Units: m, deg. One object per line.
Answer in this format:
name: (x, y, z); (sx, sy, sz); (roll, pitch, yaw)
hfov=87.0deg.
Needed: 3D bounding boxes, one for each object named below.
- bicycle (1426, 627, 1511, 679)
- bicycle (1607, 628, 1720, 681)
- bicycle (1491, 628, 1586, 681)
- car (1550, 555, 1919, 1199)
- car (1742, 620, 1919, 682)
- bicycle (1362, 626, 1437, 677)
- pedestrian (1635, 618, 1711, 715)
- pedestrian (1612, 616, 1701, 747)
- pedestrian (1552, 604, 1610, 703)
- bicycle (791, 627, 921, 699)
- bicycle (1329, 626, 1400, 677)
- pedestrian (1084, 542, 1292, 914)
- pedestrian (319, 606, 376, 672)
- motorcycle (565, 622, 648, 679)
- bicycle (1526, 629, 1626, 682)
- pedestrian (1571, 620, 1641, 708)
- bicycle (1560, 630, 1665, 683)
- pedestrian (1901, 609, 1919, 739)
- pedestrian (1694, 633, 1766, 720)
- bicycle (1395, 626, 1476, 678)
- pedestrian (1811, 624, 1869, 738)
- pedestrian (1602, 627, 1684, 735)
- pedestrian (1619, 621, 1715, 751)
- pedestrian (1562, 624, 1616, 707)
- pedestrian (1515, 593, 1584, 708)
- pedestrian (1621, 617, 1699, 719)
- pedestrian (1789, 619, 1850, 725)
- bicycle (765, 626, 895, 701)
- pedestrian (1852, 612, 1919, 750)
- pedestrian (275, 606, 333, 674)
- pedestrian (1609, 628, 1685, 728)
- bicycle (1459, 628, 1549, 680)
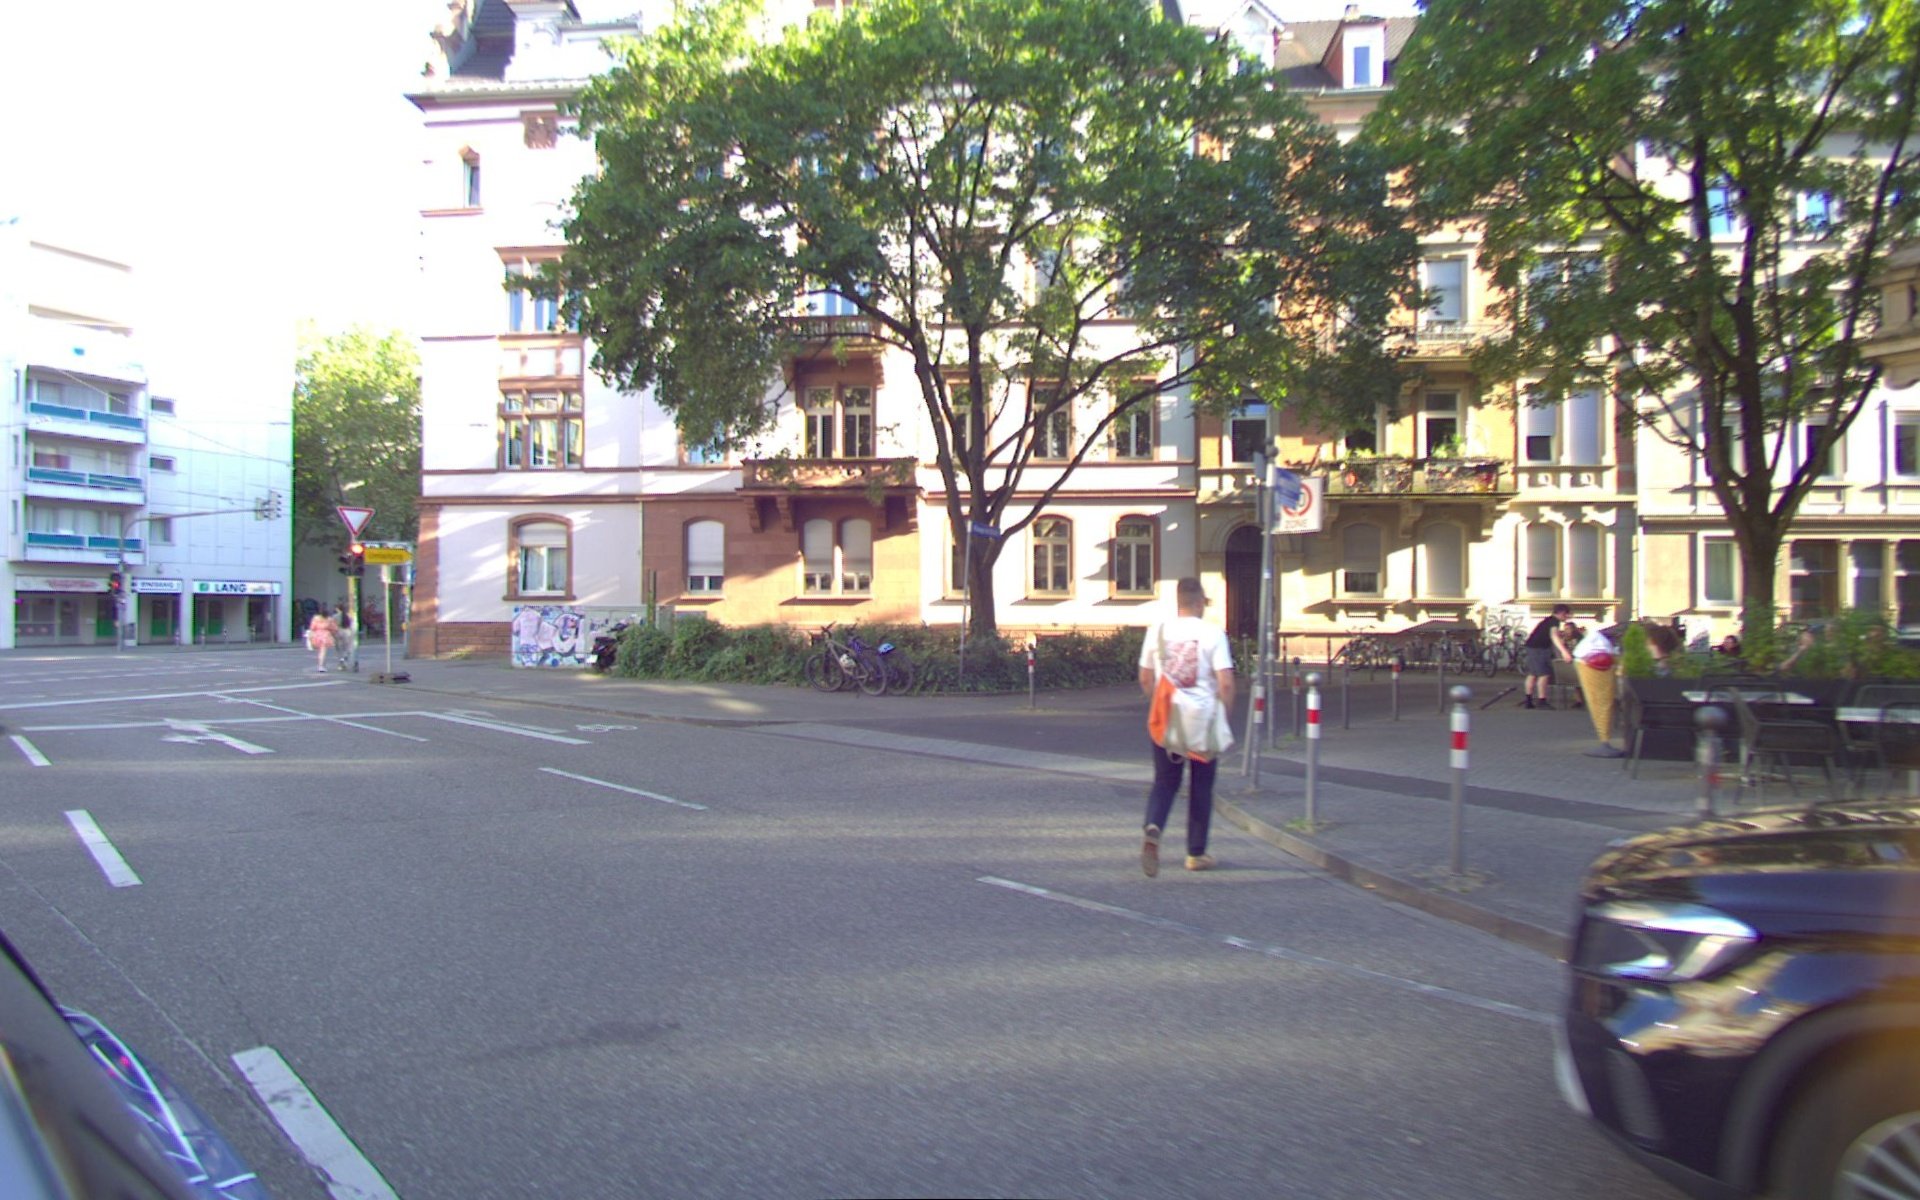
bicycle: (12.445, 1.257, 24.887); (0.742, 1.189, 3.132); (0, -1, 5)
bicycle: (16.836, 1.266, 24.346); (0.742, 1.189, 3.132); (0, -1, 5)
bicycle: (14.061, 1.293, 24.736); (0.742, 1.189, 3.132); (0, -1, 5)
car: (3.402, 0.668, 1.421); (1.738, 1.499, 4.141); (3, -3, -44)
car: (21.085, 1.171, 23.820); (3.706, 1.386, 1.926); (0, -1, 6)
bicycle: (10.838, 1.232, 25.094); (0.742, 1.189, 3.132); (0, -1, 5)
pedestrian: (11.129, 1.028, 15.804); (0.657, 1.453, 0.768); (2, -4, -37)
pedestrian: (7.856, 0.894, 11.453); (0.724, 1.422, 0.749); (-1, -2, 28)
pedestrian: (10.859, 0.933, 17.702); (0.766, 1.682, 0.659); (-2, -4, 39)
bicycle: (-1.905, 1.078, 18.025); (2.960, 1.205, 0.540); (-1, -2, 45)
bicycle: (10.006, 1.248, 25.163); (0.742, 1.189, 3.132); (0, -1, 5)
pedestrian: (1.351, 0.670, 5.911); (0.840, 1.913, 1.105); (-1, -2, 34)
pedestrian: (-16.258, 1.024, 26.879); (0.977, 1.710, 0.864); (-1, -2, 20)
motorcycle: (-8.284, 1.158, 23.827); (0.835, 1.275, 2.100); (-1, -1, 15)
bicycle: (14.886, 1.311, 24.594); (0.742, 1.189, 3.132); (0, -1, 5)
pedestrian: (10.787, 1.059, 16.905); (0.657, 1.423, 0.769); (2, -3, -36)
bicycle: (15.717, 1.330, 24.513); (0.742, 1.189, 3.132); (0, -1, 5)
pedestrian: (10.913, 0.821, 11.262); (0.480, 1.442, 0.564); (-2, -2, 29)
pedestrian: (11.246, 1.105, 14.778); (0.657, 1.225, 0.678); (3, -4, -39)
bicycle: (11.670, 1.243, 24.984); (0.742, 1.189, 3.132); (0, -1, 5)
pedestrian: (10.003, 0.905, 11.512); (0.433, 1.258, 0.476); (-2, -3, 38)
pedestrian: (8.471, 0.976, 12.543); (0.748, 1.258, 1.012); (-2, -3, 37)
pedestrian: (7.413, 0.871, 10.644); (0.740, 1.299, 0.738); (-1, -2, 30)
pedestrian: (10.303, 1.060, 16.581); (0.497, 1.330, 0.573); (1, -3, -39)
pedestrian: (9.373, 0.801, 16.096); (0.563, 1.784, 0.768); (2, -4, -37)
pedestrian: (10.419, 1.001, 15.073); (0.657, 1.453, 0.768); (2, -4, -37)
pedestrian: (10.543, 0.867, 12.430); (0.510, 1.258, 0.476); (-2, -3, 38)
bicycle: (-2.309, 1.057, 17.599); (2.960, 1.205, 0.540); (-1, -2, 45)
pedestrian: (9.586, 0.821, 10.458); (0.432, 1.377, 0.477); (-2, -2, 32)
pedestrian: (-16.784, 1.008, 25.911); (0.856, 1.710, 0.985); (0, -1, -5)
pedestrian: (9.005, 1.000, 13.266); (0.748, 1.258, 0.697); (-2, -3, 38)
bicycle: (13.263, 1.275, 24.808); (0.742, 1.189, 3.132); (0, -1, 5)
